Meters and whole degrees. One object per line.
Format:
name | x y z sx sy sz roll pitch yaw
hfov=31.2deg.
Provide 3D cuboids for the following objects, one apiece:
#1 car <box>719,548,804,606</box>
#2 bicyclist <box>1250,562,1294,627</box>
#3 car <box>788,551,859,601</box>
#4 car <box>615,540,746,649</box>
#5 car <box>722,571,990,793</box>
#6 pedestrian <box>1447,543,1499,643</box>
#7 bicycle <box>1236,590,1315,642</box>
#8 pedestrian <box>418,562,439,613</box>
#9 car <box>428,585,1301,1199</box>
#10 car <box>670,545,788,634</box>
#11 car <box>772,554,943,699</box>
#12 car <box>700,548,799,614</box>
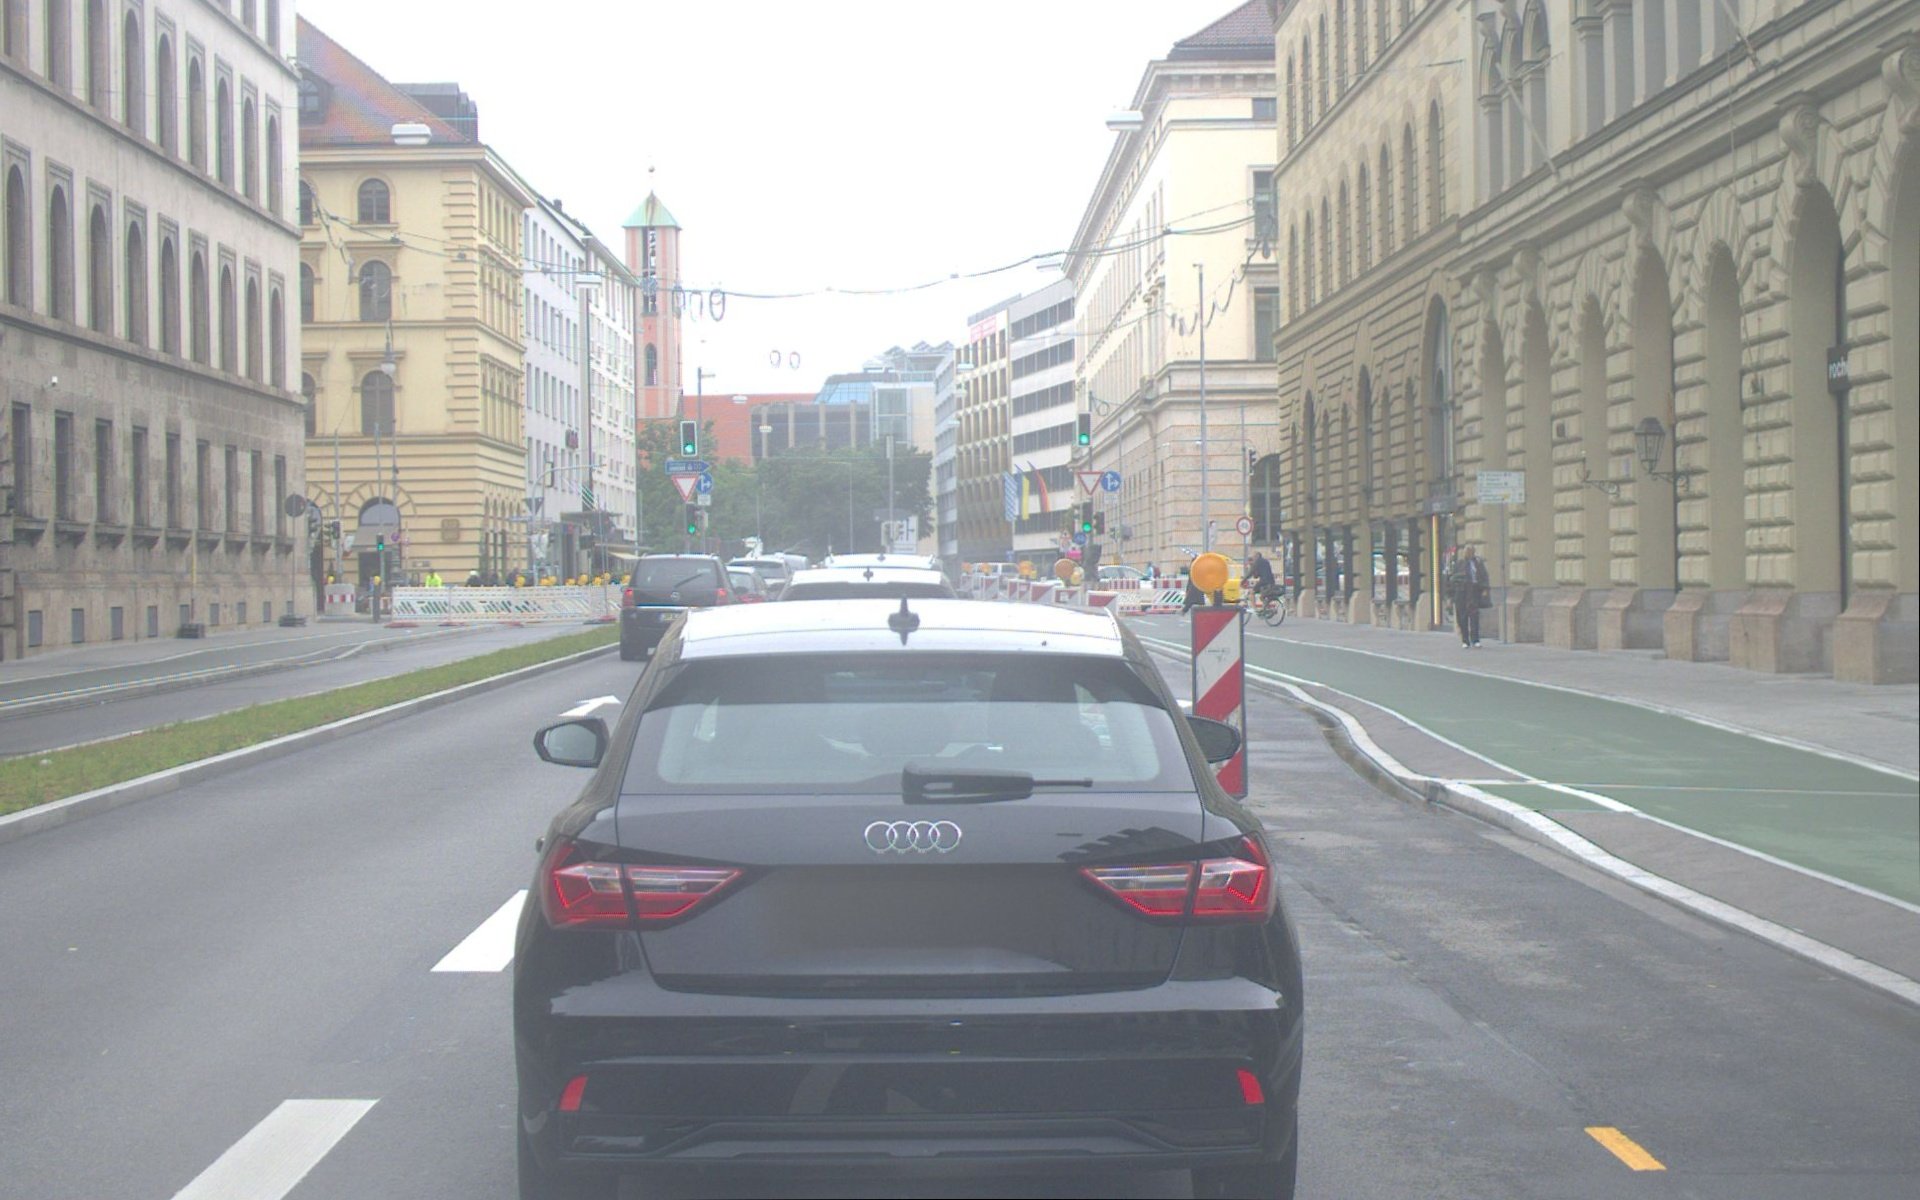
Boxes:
car | -5.091 -0.617 88.690 1.993 1.439 4.000 -1 1 0
bicyclist | 7.206 -0.132 79.321 0.710 1.495 0.754 -1 1 -27
car | -4.053 -0.737 102.480 1.993 1.439 4.000 -1 1 0
car | -4.279 -0.111 53.096 1.764 1.610 4.030 1 1 -1
car | -0.712 0.518 24.425 1.730 1.398 4.000 1 1 -1
pedestrian | 8.365 -0.123 56.048 0.710 1.612 0.754 -1 1 -1
bicycle | 7.259 0.360 79.229 0.728 1.152 2.172 -1 1 -28
pedestrian | -18.963 -0.442 122.691 0.656 1.799 0.727 -1 1 -1
car | -0.224 0.695 8.868 1.730 1.398 4.000 1 1 -1
car | -4.379 -0.221 65.684 1.993 1.622 4.000 -1 1 0
car | -1.076 0.242 37.092 1.730 1.456 4.000 1 1 -1
car | -4.688 -0.443 77.057 1.993 1.439 4.000 -1 1 0
